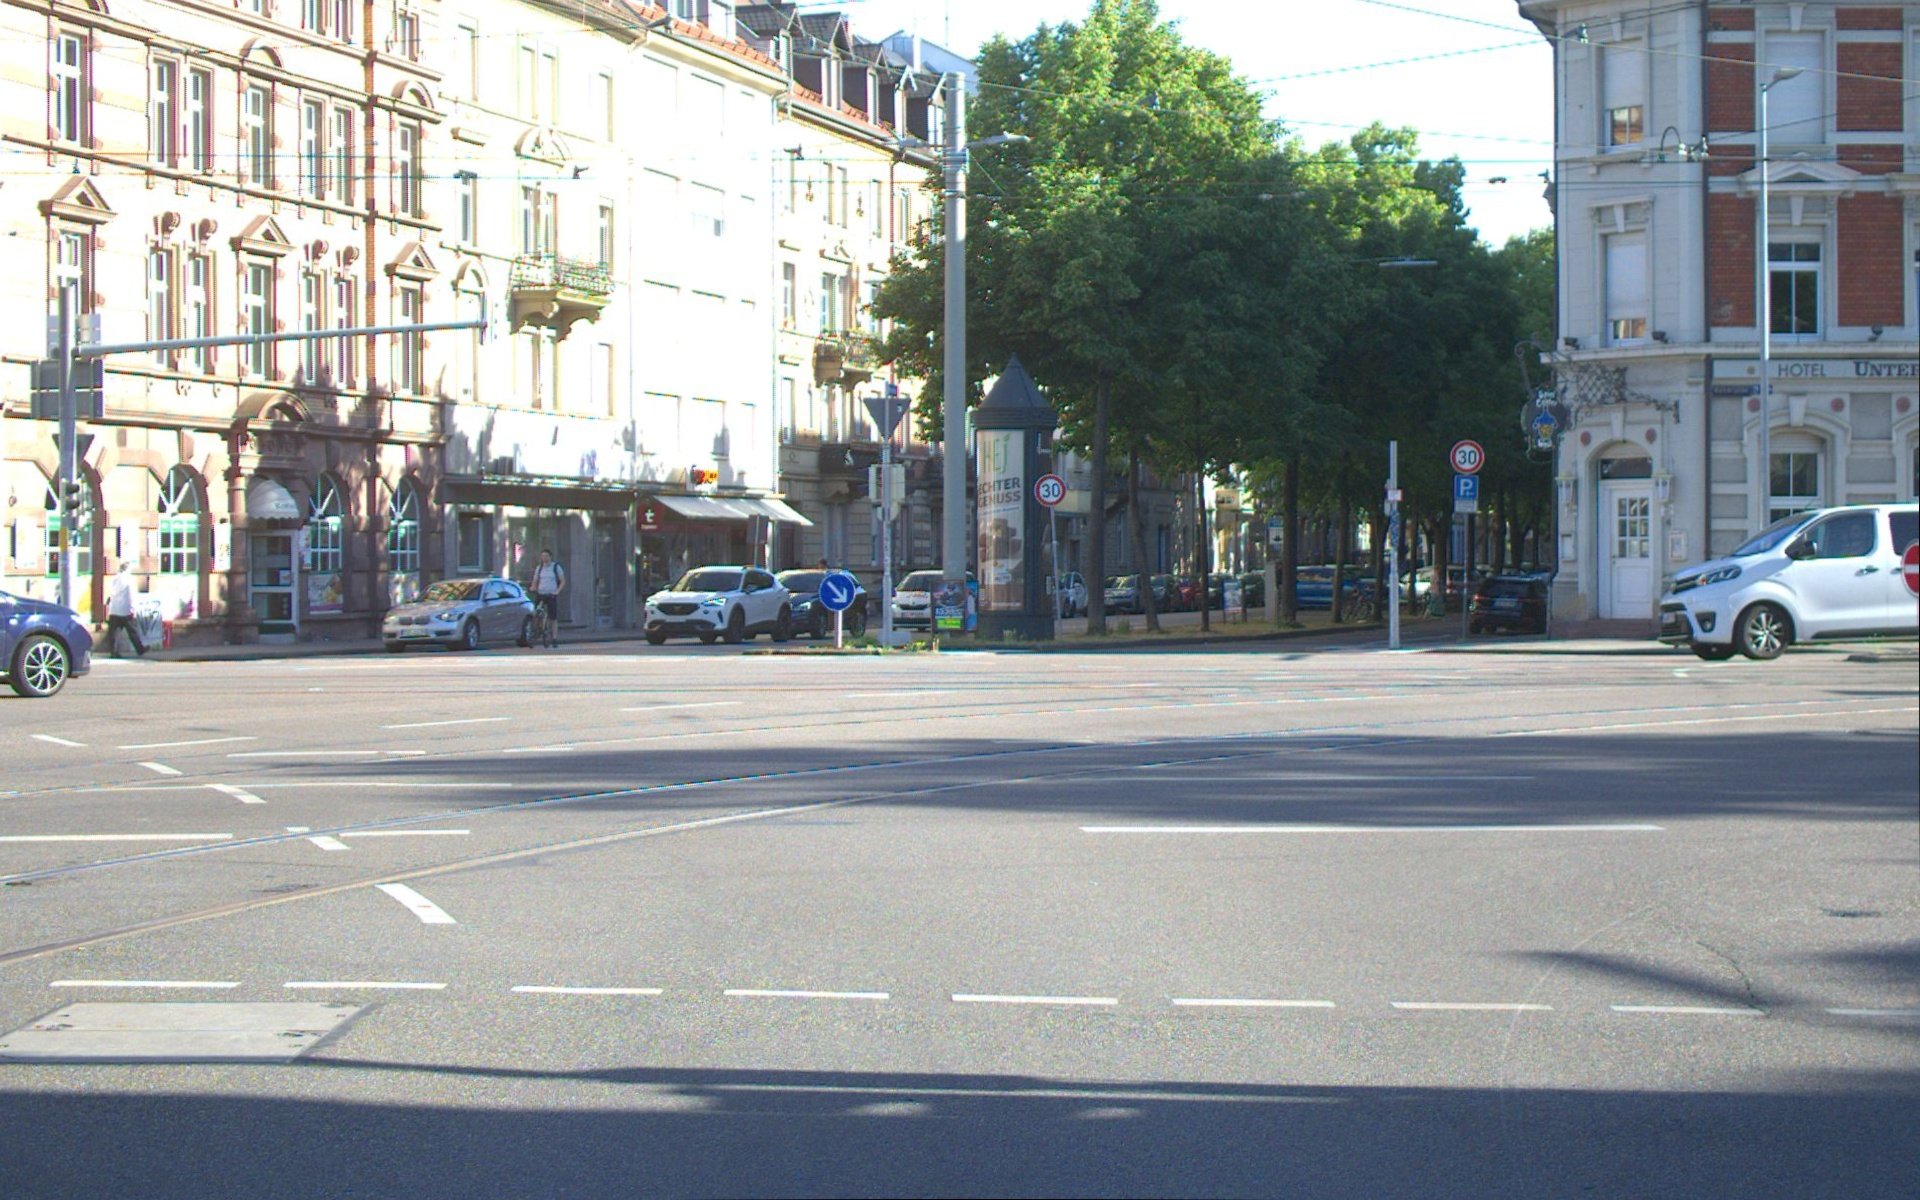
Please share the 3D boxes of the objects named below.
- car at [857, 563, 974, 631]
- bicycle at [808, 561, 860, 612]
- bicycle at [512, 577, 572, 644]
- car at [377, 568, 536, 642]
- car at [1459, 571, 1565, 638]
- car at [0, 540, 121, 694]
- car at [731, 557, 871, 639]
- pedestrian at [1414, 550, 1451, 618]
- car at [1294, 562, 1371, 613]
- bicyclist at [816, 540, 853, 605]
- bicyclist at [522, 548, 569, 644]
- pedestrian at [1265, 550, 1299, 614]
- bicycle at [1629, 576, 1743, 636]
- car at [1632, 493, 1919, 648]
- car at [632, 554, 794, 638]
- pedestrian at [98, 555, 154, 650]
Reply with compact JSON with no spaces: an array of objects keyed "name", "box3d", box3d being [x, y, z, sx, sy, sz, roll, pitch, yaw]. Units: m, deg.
[{"name":"car","box3d":[-1.043,-0.088,82.957,1.804,1.570,3.888,1,1,15]},{"name":"bicycle","box3d":[-3.036,-0.335,82.977,0.674,1.203,1.820,1,1,18]},{"name":"bicycle","box3d":[-7.890,0.190,64.940,0.565,1.250,1.556,1,1,14]},{"name":"car","box3d":[-9.788,0.074,67.054,1.661,1.369,3.889,1,1,15]},{"name":"car","box3d":[13.273,0.097,82.522,1.758,1.550,3.996,1,1,20]},{"name":"car","box3d":[-9.865,0.152,31.229,3.989,1.398,1.830,-1,1,-45]},{"name":"car","box3d":[-3.365,-0.065,73.617,1.826,1.679,3.872,1,1,16]},{"name":"pedestrian","box3d":[14.125,-0.482,102.853,0.961,2.007,0.918,1,0,1]},{"name":"car","box3d":[12.645,-0.430,116.608,1.995,1.678,3.997,1,1,15]},{"name":"bicyclist","box3d":[-3.032,-0.664,82.976,0.674,1.563,0.747,1,0,18]},{"name":"bicyclist","box3d":[-7.851,-0.084,65.108,0.565,1.797,0.913,1,0,15]},{"name":"pedestrian","box3d":[10.268,-0.572,109.527,0.944,2.007,0.826,1,0,14]},{"name":"bicycle","box3d":[12.065,0.100,57.122,1.804,0.959,0.603,1,0,14]},{"name":"car","box3d":[11.062,-0.366,42.049,5.198,1.847,2.000,0,1,-6]},{"name":"car","box3d":[-4.791,-0.093,67.265,1.804,1.579,4.156,1,1,17]},{"name":"pedestrian","box3d":[-14.595,0.043,60.189,0.568,1.636,0.792,1,0,23]}]
